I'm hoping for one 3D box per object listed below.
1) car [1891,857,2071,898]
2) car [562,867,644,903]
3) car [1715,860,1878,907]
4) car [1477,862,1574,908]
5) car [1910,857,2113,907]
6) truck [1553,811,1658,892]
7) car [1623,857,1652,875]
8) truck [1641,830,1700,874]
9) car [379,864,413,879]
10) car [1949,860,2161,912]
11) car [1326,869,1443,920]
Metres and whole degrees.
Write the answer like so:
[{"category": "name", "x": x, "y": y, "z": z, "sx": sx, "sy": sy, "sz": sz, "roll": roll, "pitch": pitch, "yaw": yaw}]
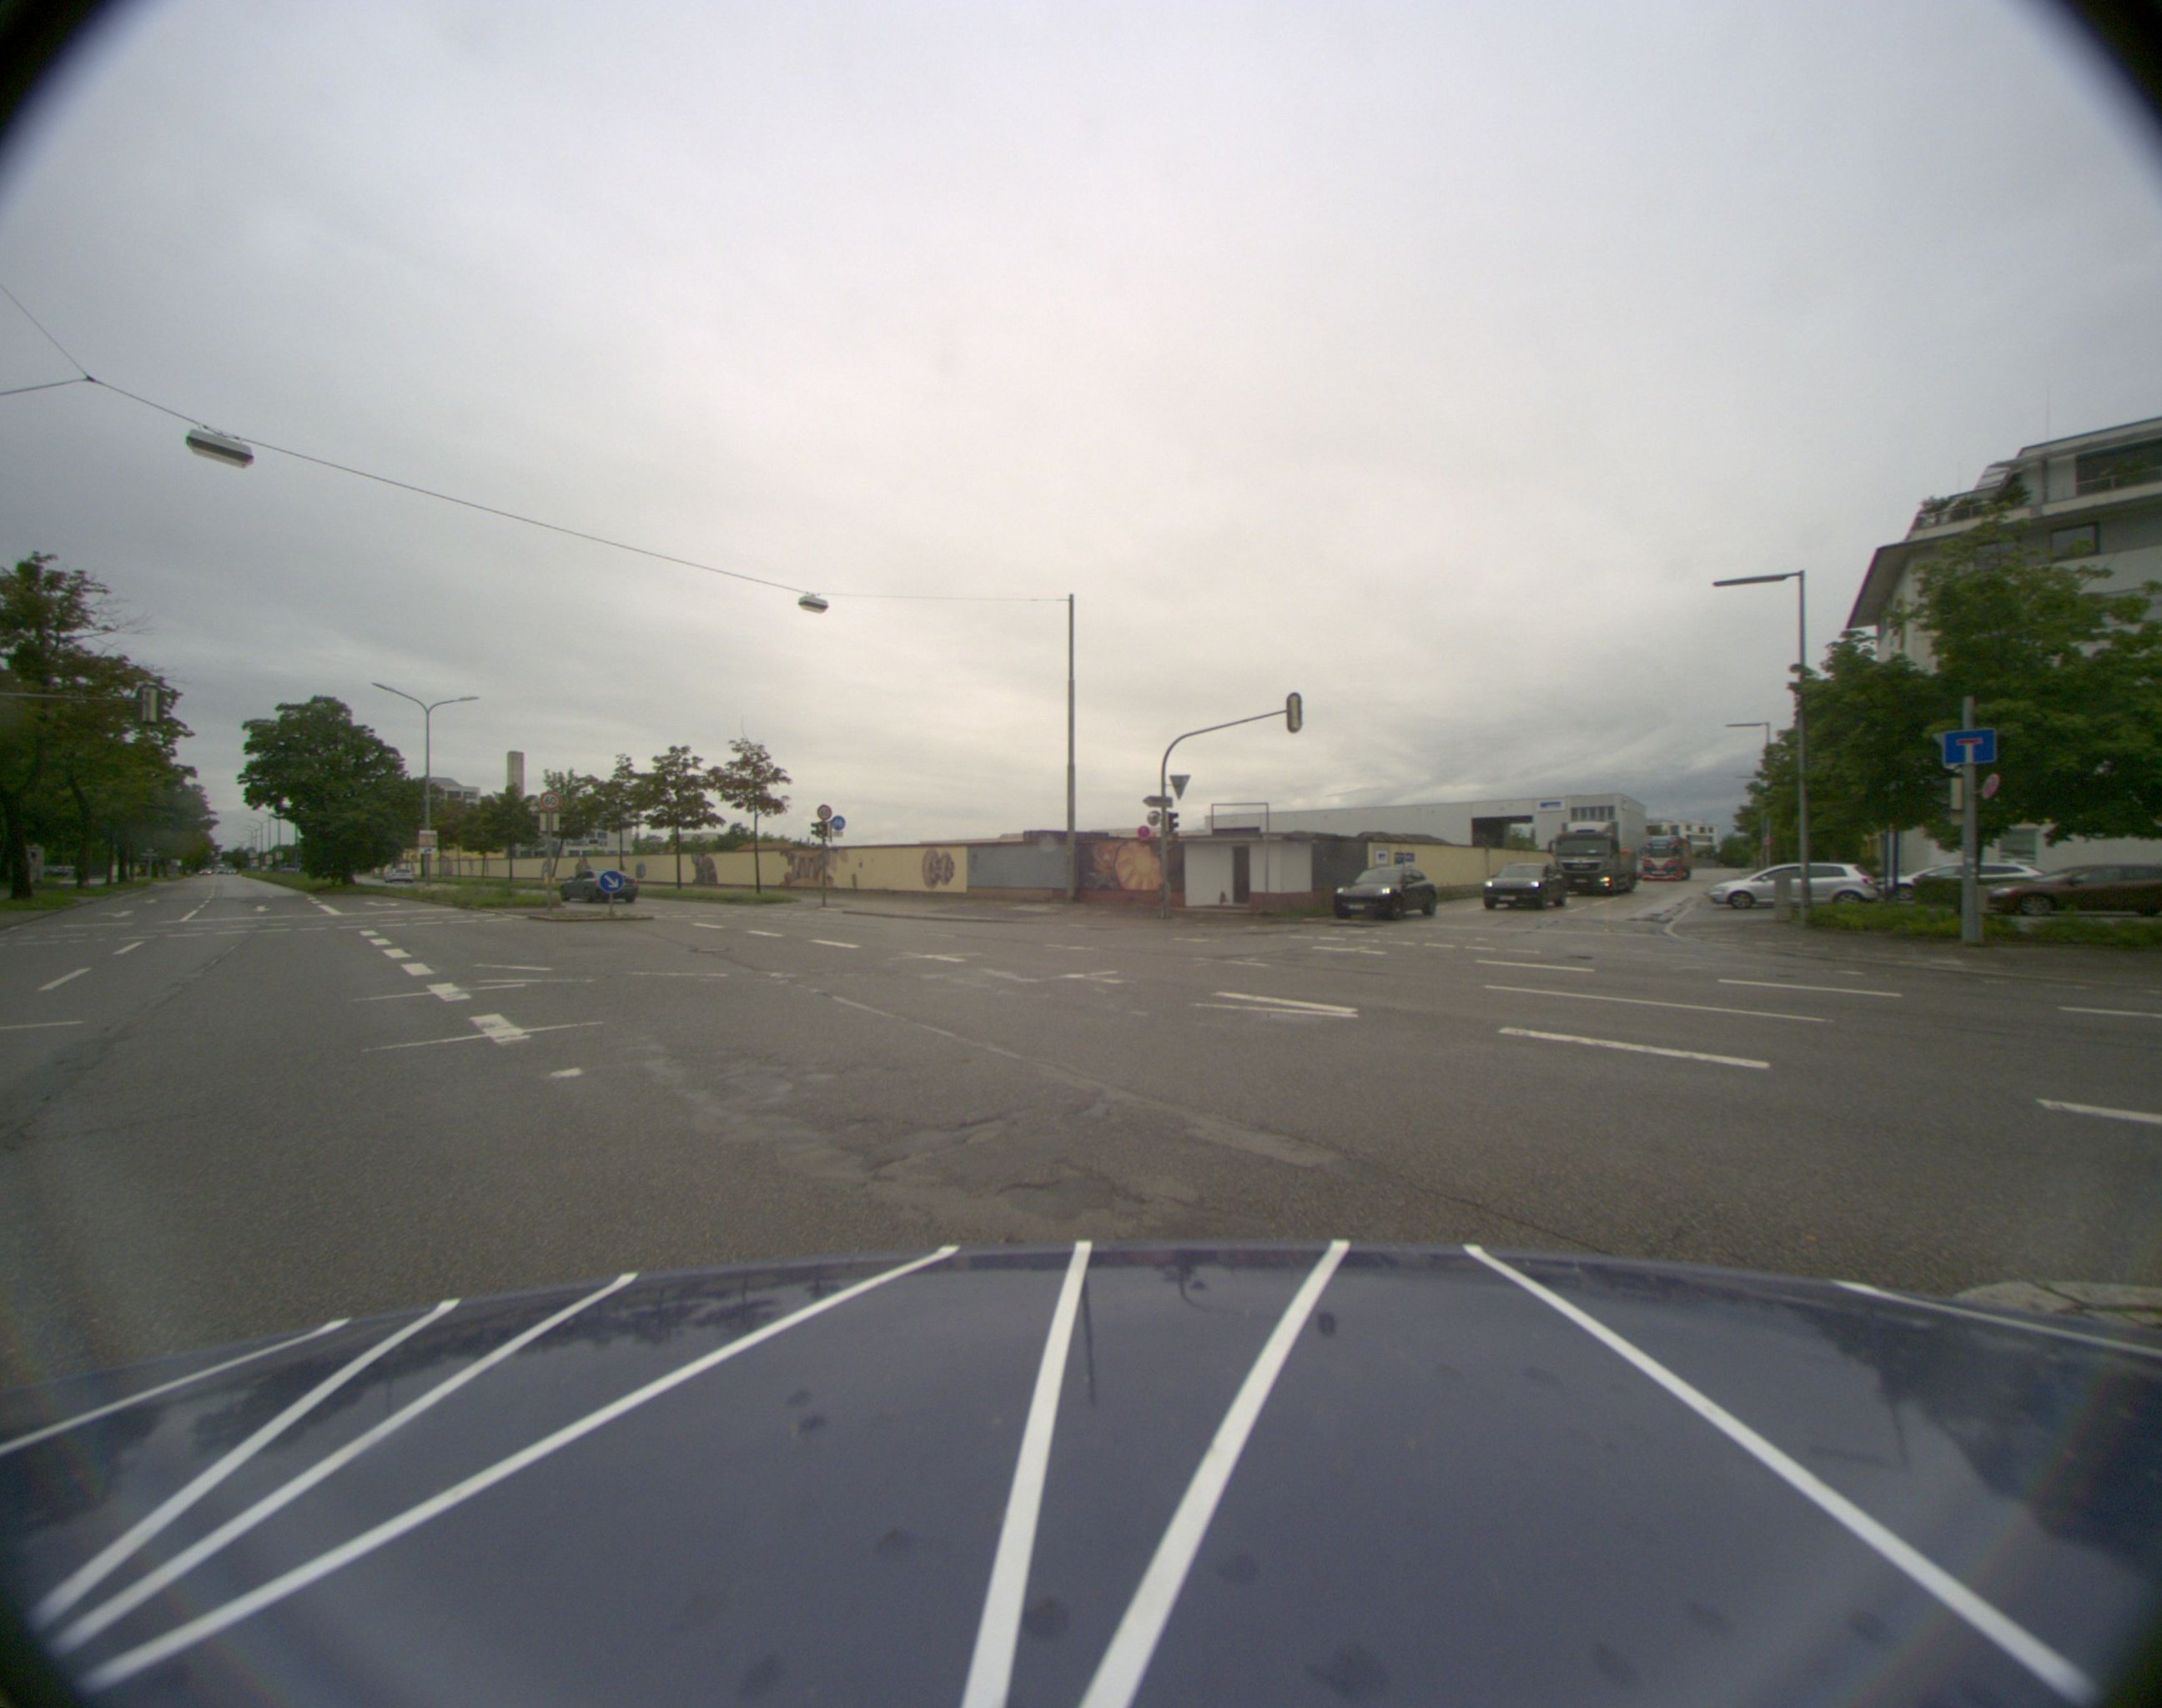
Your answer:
[{"category": "car", "x": 33.960, "y": 0.870, "z": 28.891, "sx": 4.181, "sy": 1.469, "sz": 1.913, "roll": -1, "pitch": -2, "yaw": 41}, {"category": "car", "x": -21.099, "y": 1.314, "z": 33.500, "sx": 4.426, "sy": 1.498, "sz": 1.922, "roll": -1, "pitch": -2, "yaw": 42}, {"category": "car", "x": 24.244, "y": 0.973, "z": 25.962, "sx": 3.966, "sy": 1.477, "sz": 1.632, "roll": -1, "pitch": -2, "yaw": 40}, {"category": "car", "x": 16.638, "y": 1.099, "z": 28.333, "sx": 1.994, "sy": 1.523, "sz": 4.642, "roll": -1, "pitch": 0, "yaw": 45}, {"category": "car", "x": 29.812, "y": 0.878, "z": 24.549, "sx": 3.967, "sy": 1.477, "sz": 1.632, "roll": -1, "pitch": -2, "yaw": 44}, {"category": "truck", "x": 28.775, "y": -0.126, "z": 41.377, "sx": 2.602, "sy": 3.833, "sz": 11.962, "roll": -1, "pitch": 0, "yaw": 45}, {"category": "car", "x": 56.237, "y": 1.237, "z": 76.761, "sx": 1.868, "sy": 1.695, "sz": 4.113, "roll": -1, "pitch": -2, "yaw": 43}, {"category": "truck", "x": 54.459, "y": -0.184, "z": 69.998, "sx": 2.871, "sy": 3.809, "sz": 11.962, "roll": -1, "pitch": 0, "yaw": 45}, {"category": "car", "x": -69.056, "y": 1.739, "z": 76.605, "sx": 4.489, "sy": 1.459, "sz": 1.888, "roll": -1, "pitch": -2, "yaw": 39}, {"category": "car", "x": 28.124, "y": 0.883, "z": 21.532, "sx": 4.351, "sy": 1.375, "sz": 1.708, "roll": 0, "pitch": -1, "yaw": 32}, {"category": "car", "x": 9.853, "y": 1.220, "z": 24.491, "sx": 1.994, "sy": 1.419, "sz": 4.273, "roll": -1, "pitch": 0, "yaw": 45}]
